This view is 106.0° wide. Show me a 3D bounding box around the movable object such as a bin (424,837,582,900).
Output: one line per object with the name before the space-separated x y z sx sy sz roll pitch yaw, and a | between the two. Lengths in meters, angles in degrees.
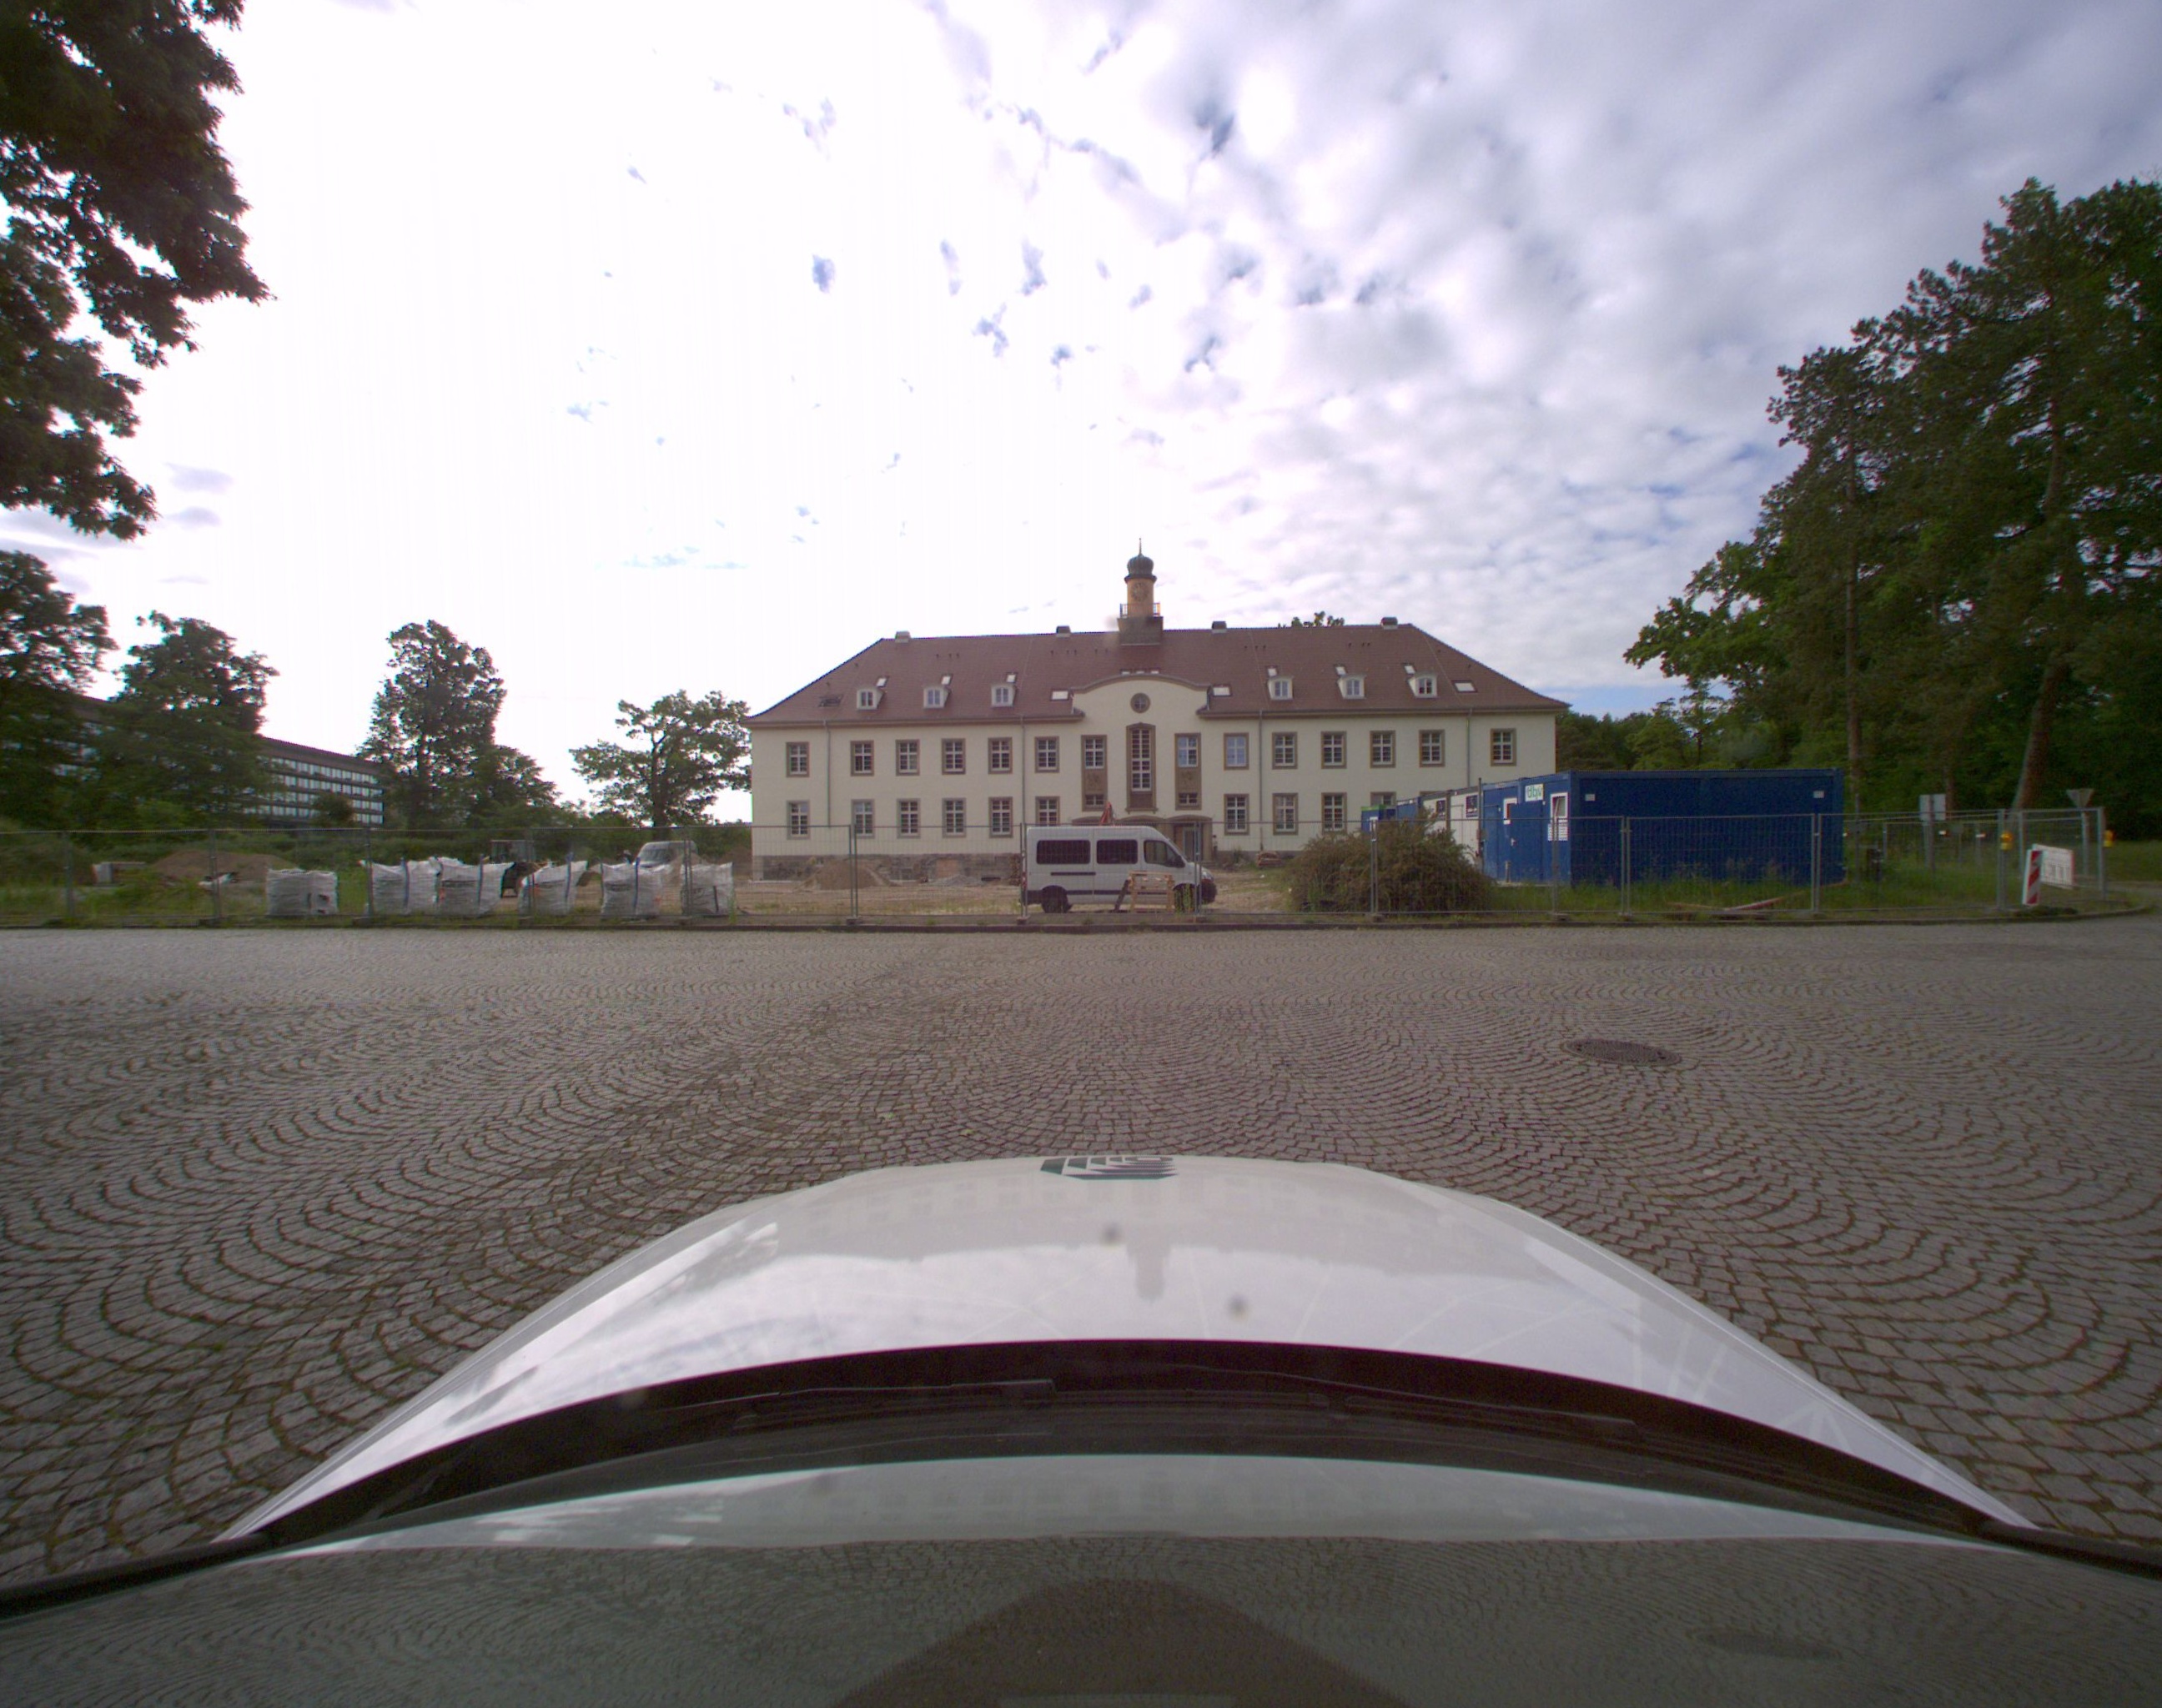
movable object such as a bin | -24.559 0.618 34.733 5.307 2.556 2.002 -1 0 2

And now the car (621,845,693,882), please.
car | -26.571 0.564 51.200 2.062 2.150 4.896 -1 0 -2

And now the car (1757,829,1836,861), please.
car | 35.674 -0.473 40.599 3.996 1.487 1.607 -1 2 -27

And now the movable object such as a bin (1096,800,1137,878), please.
movable object such as a bin | 1.786 -0.753 42.431 1.986 3.771 5.318 0 0 1

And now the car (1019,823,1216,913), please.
car | 1.055 0.382 22.747 5.236 2.344 1.913 -1 0 5
